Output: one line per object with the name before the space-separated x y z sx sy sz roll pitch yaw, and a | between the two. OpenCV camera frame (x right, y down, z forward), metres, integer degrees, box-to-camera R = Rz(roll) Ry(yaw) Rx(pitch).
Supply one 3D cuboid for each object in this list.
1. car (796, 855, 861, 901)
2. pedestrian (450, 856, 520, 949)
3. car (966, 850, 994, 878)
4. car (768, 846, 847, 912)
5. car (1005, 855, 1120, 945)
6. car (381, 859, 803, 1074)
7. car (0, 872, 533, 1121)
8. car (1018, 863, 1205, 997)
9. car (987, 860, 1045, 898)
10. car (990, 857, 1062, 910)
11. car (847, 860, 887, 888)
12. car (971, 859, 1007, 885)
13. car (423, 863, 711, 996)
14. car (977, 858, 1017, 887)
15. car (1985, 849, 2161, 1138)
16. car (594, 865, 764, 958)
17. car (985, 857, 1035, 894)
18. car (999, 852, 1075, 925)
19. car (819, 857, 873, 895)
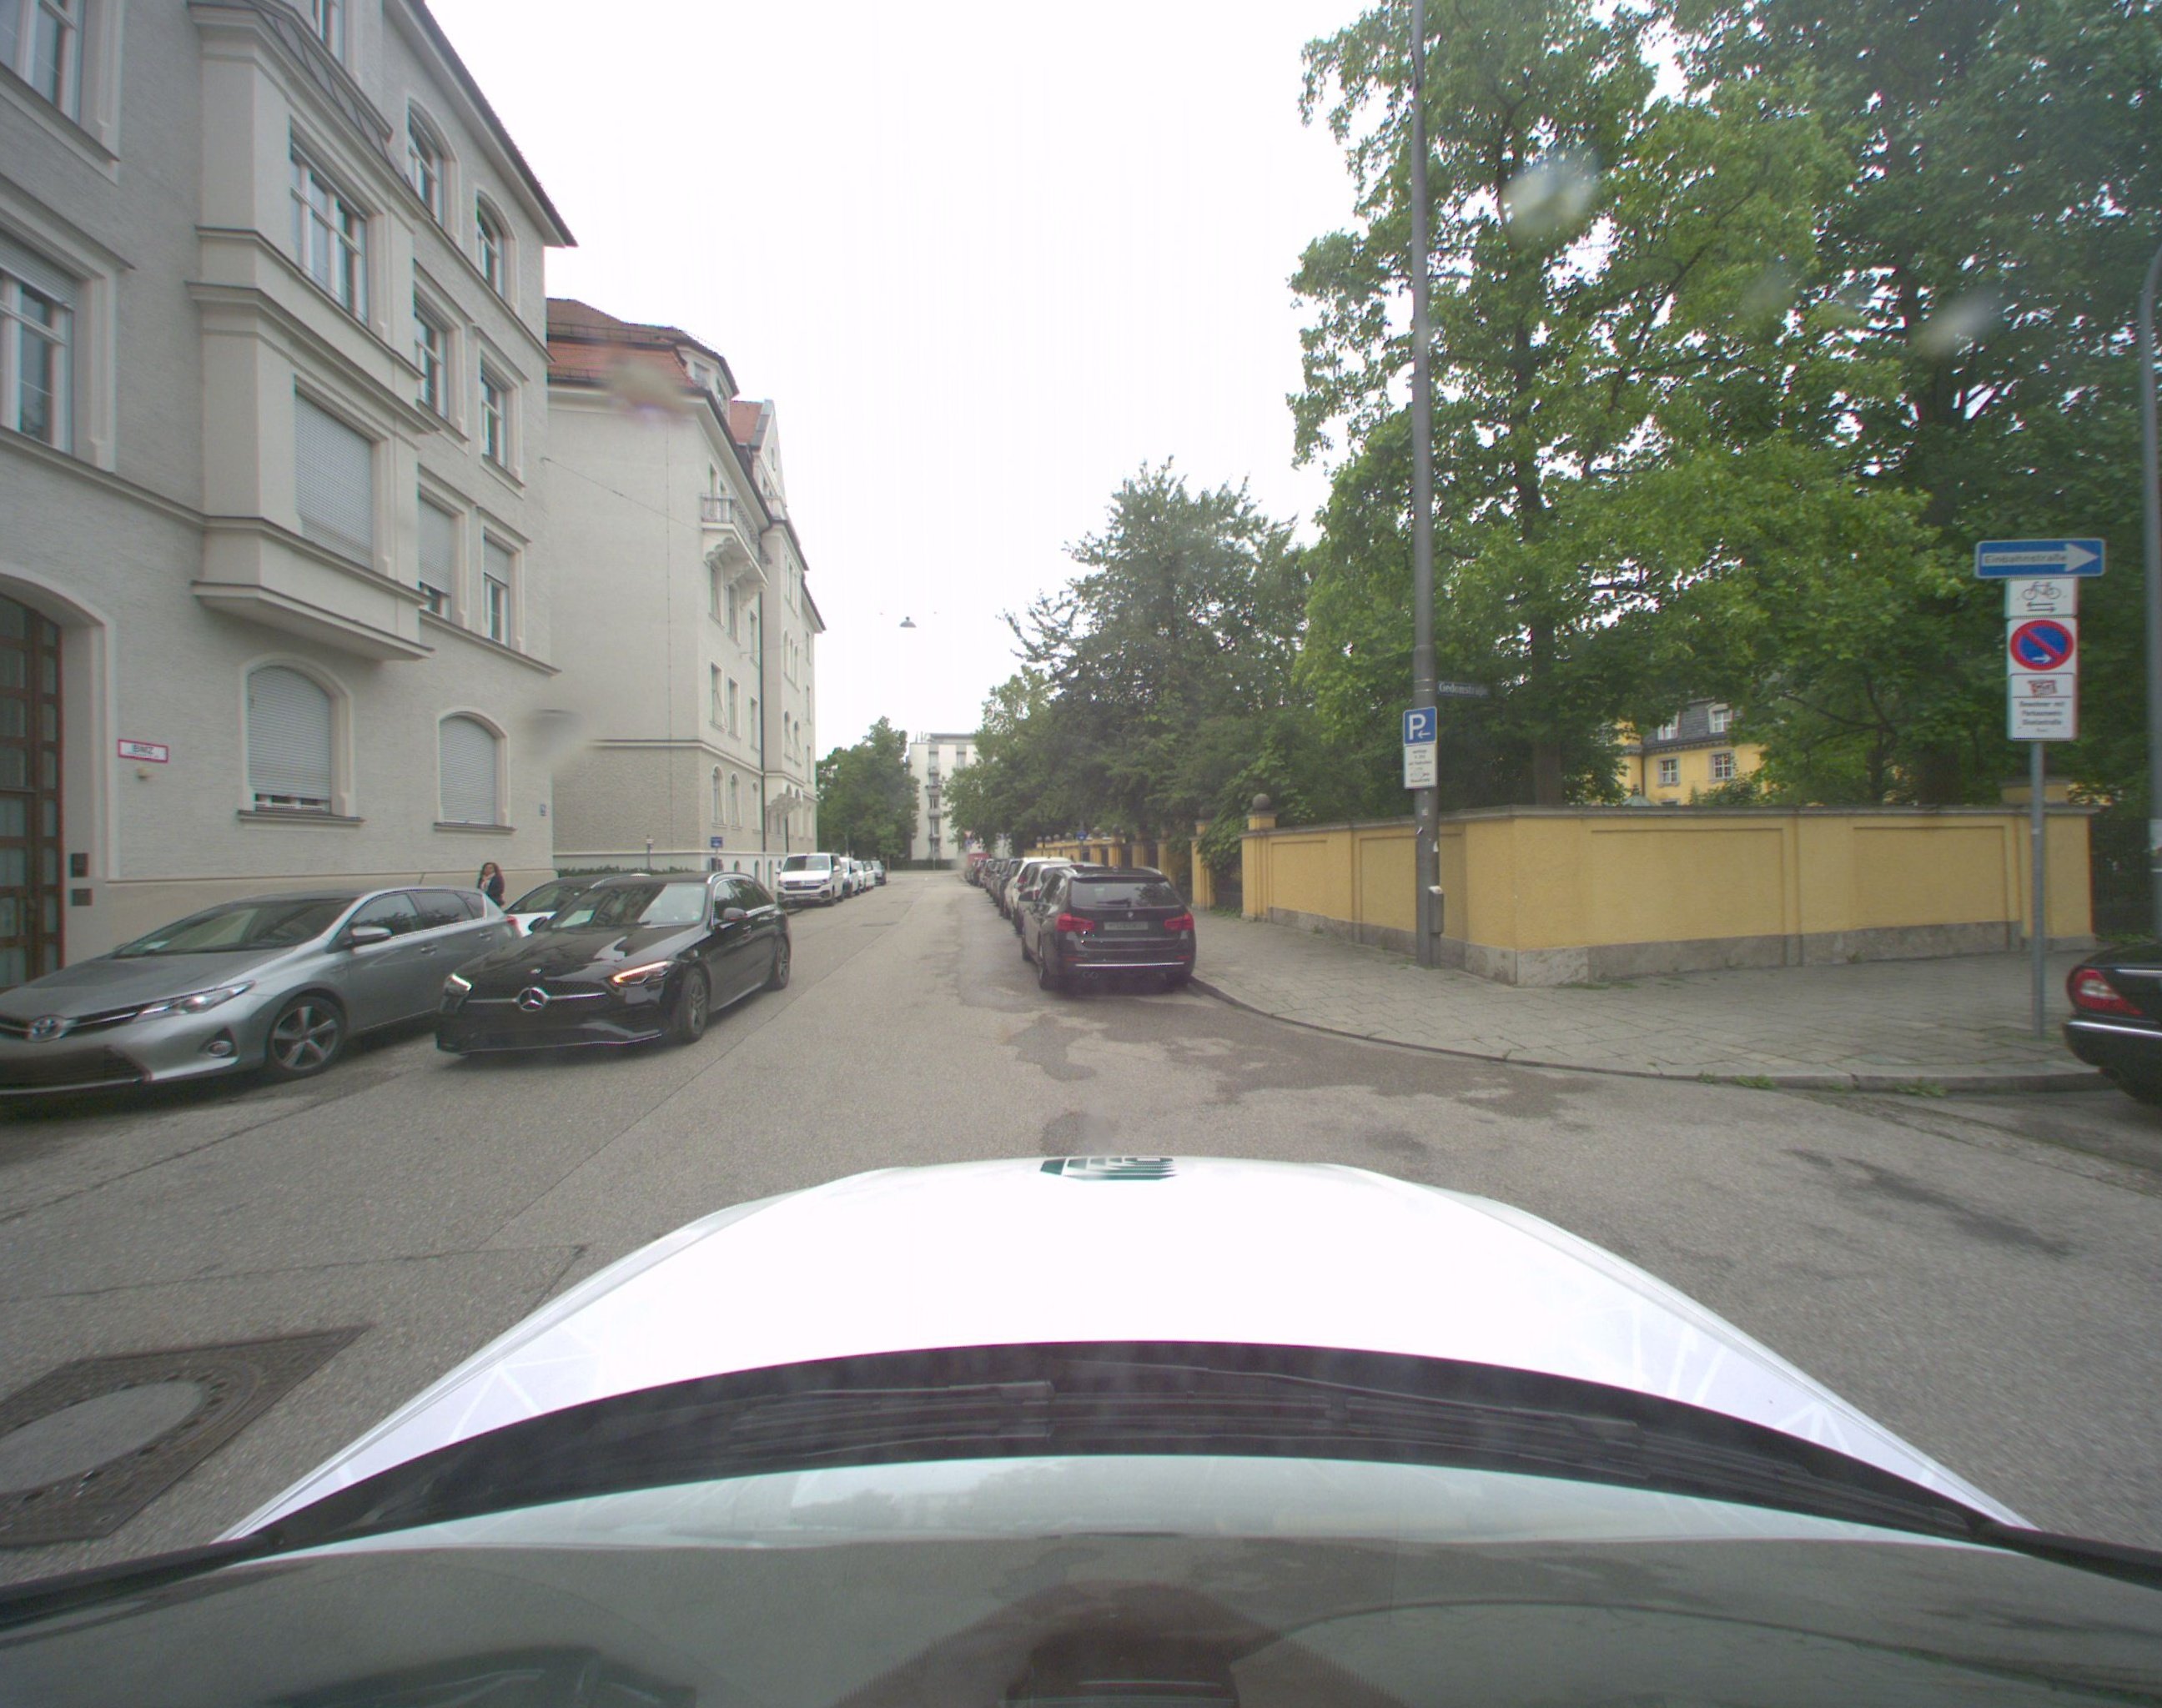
car | -11.172 1.003 36.334 2.015 1.771 4.400 -4 0 -9
pedestrian | -11.068 0.878 15.154 0.791 1.679 0.698 -1 0 -8
car | -7.465 0.713 60.578 1.833 1.927 3.997 2 0 -5
car | -10.039 0.850 30.285 1.886 2.127 4.692 -4 0 -9
car | -0.472 0.813 15.841 1.653 1.519 3.781 0 -1 -11
car | -4.285 0.820 8.128 1.872 1.428 4.399 -2 0 -6
car | -6.889 0.967 7.194 1.724 1.499 3.921 -2 0 -6
car | 0.179 0.835 10.859 1.837 1.413 4.331 0 -1 -7
car | -2.555 0.920 31.147 1.839 1.346 3.933 0 -1 -11
car | -1.811 0.880 25.642 1.839 1.551 3.933 0 -1 -11
car | -14.044 1.256 53.583 2.015 1.634 4.400 -4 0 -9
car | -5.553 1.066 48.805 1.839 1.519 3.933 0 -1 -11
car | -7.230 0.930 12.075 1.834 1.438 4.265 -4 0 -6
car | -4.651 0.982 44.722 1.839 1.519 3.933 0 -1 -11
car | 8.003 0.684 4.666 4.924 1.482 1.854 -1 -1 -17
car | -8.059 1.059 16.810 1.836 1.499 4.262 -4 0 -8
car | -3.210 0.919 36.013 1.839 1.519 3.933 0 -1 -11
car | -1.184 0.814 20.505 1.513 1.661 3.662 0 -1 -9
car | -12.058 1.093 42.055 2.015 1.726 4.261 -4 0 -9
